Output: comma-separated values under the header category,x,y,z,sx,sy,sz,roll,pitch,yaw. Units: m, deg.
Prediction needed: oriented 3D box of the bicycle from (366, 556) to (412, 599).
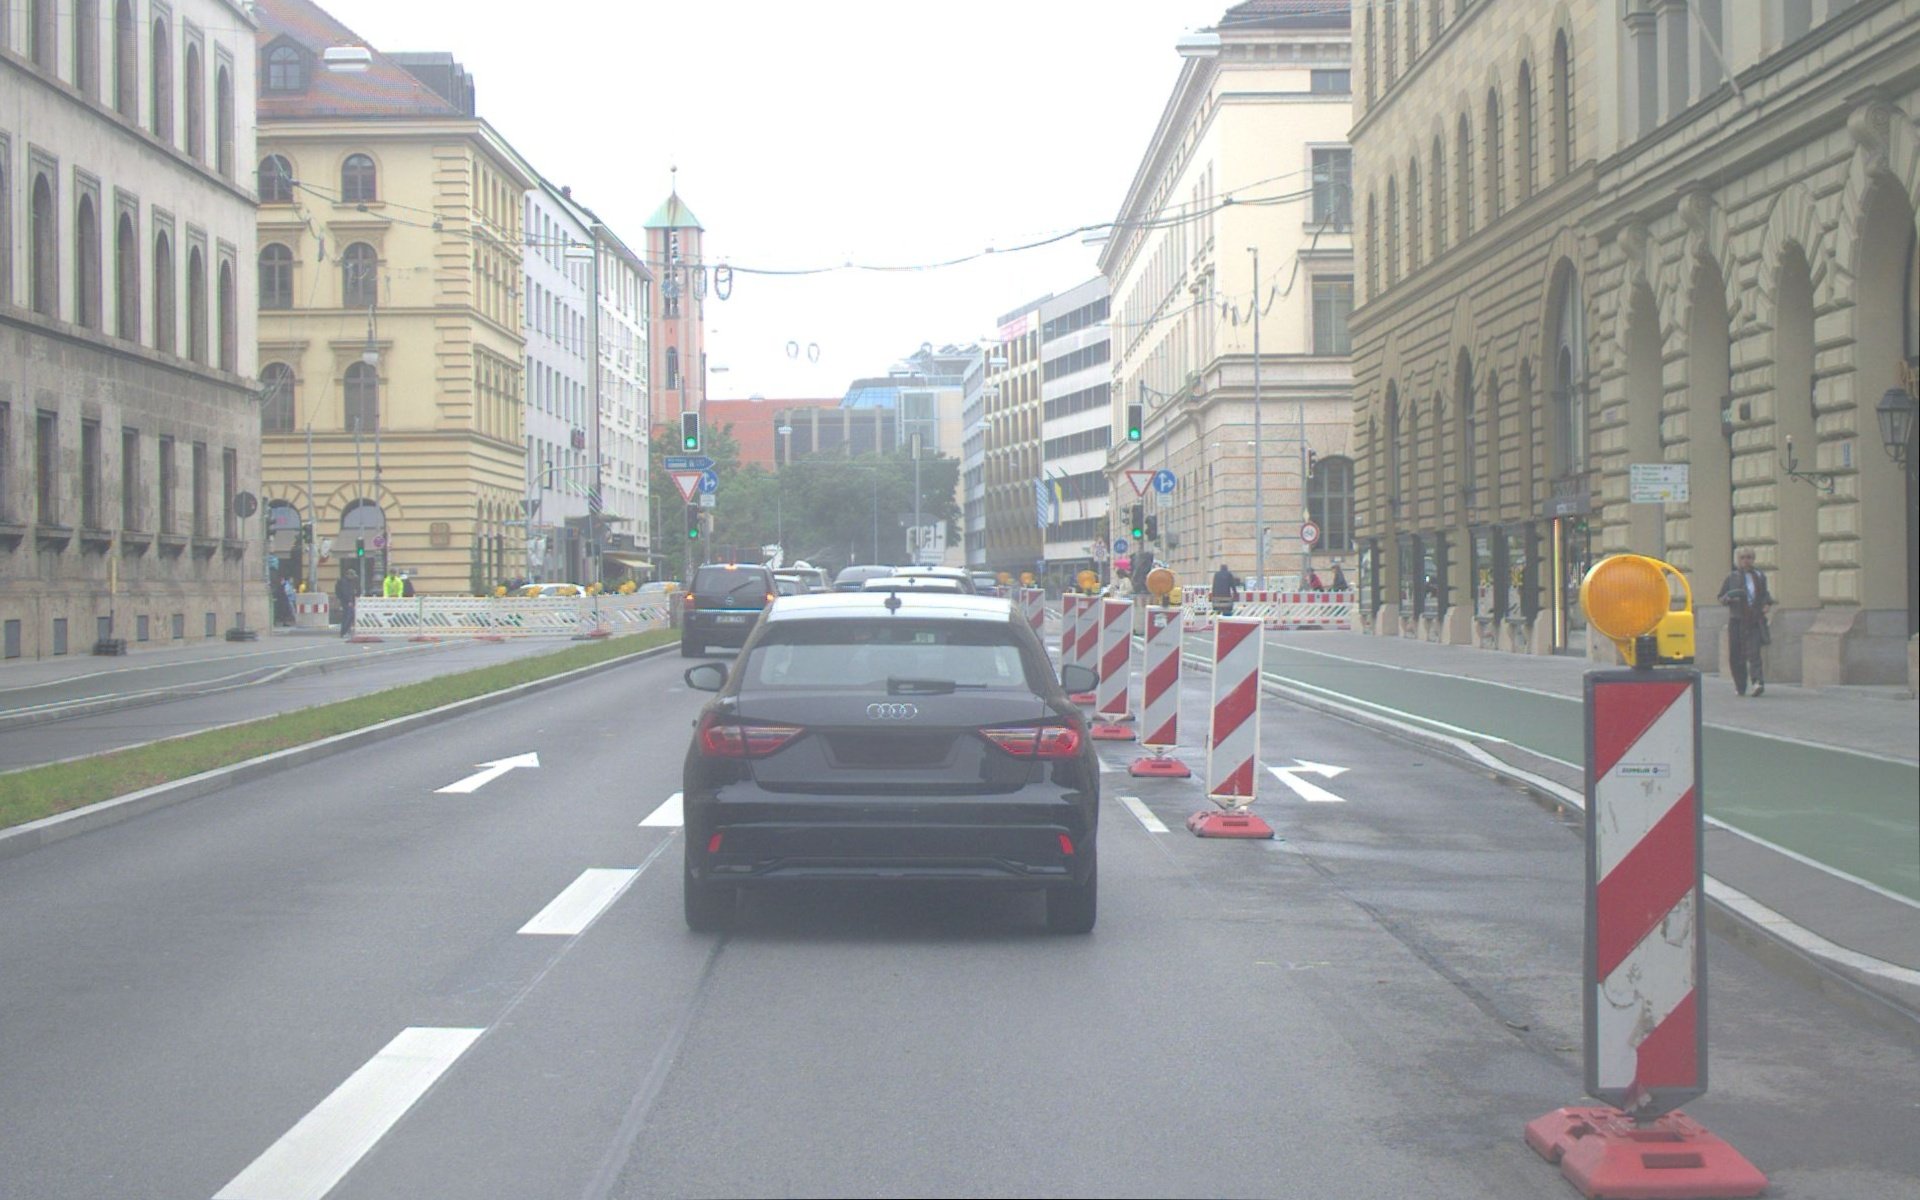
category,x,y,z,sx,sy,sz,roll,pitch,yaw
bicycle,-16.995,-0.669,102.388,0.787,1.238,2.448,1,1,4

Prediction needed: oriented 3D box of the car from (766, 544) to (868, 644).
category,x,y,z,sx,sy,sz,roll,pitch,yaw
car,-2.919,-0.137,70.817,1.993,2.007,4.000,0,1,-1

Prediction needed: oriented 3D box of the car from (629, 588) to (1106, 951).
category,x,y,z,sx,sy,sz,roll,pitch,yaw
car,-0.386,0.660,15.530,1.863,1.383,4.000,1,1,-1

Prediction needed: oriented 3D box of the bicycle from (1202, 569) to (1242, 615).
category,x,y,z,sx,sy,sz,roll,pitch,yaw
bicycle,5.962,-0.189,78.366,0.584,1.008,1.657,1,1,-7

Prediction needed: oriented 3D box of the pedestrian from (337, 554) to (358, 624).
category,x,y,z,sx,sy,sz,roll,pitch,yaw
pedestrian,-15.284,-0.274,85.766,0.512,1.737,1.043,0,0,-10

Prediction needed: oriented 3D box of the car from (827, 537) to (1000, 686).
category,x,y,z,sx,sy,sz,roll,pitch,yaw
car,-0.582,0.102,39.721,1.768,1.611,4.001,1,1,-4

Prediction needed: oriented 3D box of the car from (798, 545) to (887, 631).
category,x,y,z,sx,sy,sz,roll,pitch,yaw
car,-2.798,-0.295,82.751,1.993,2.007,4.000,-1,0,0

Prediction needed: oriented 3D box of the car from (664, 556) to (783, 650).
category,x,y,z,sx,sy,sz,roll,pitch,yaw
car,-4.123,0.035,60.387,1.865,1.596,3.851,0,1,-1

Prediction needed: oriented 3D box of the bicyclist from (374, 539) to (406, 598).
category,x,y,z,sx,sy,sz,roll,pitch,yaw
bicyclist,-16.987,-0.935,102.488,0.798,1.742,0.689,1,0,4

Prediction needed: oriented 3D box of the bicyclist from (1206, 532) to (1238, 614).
category,x,y,z,sx,sy,sz,roll,pitch,yaw
bicyclist,5.972,-0.610,78.341,0.566,1.847,0.799,1,0,-7

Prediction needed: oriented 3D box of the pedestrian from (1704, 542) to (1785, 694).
category,x,y,z,sx,sy,sz,roll,pitch,yaw
pedestrian,8.915,0.198,39.082,0.632,1.698,1.086,-1,0,-1
